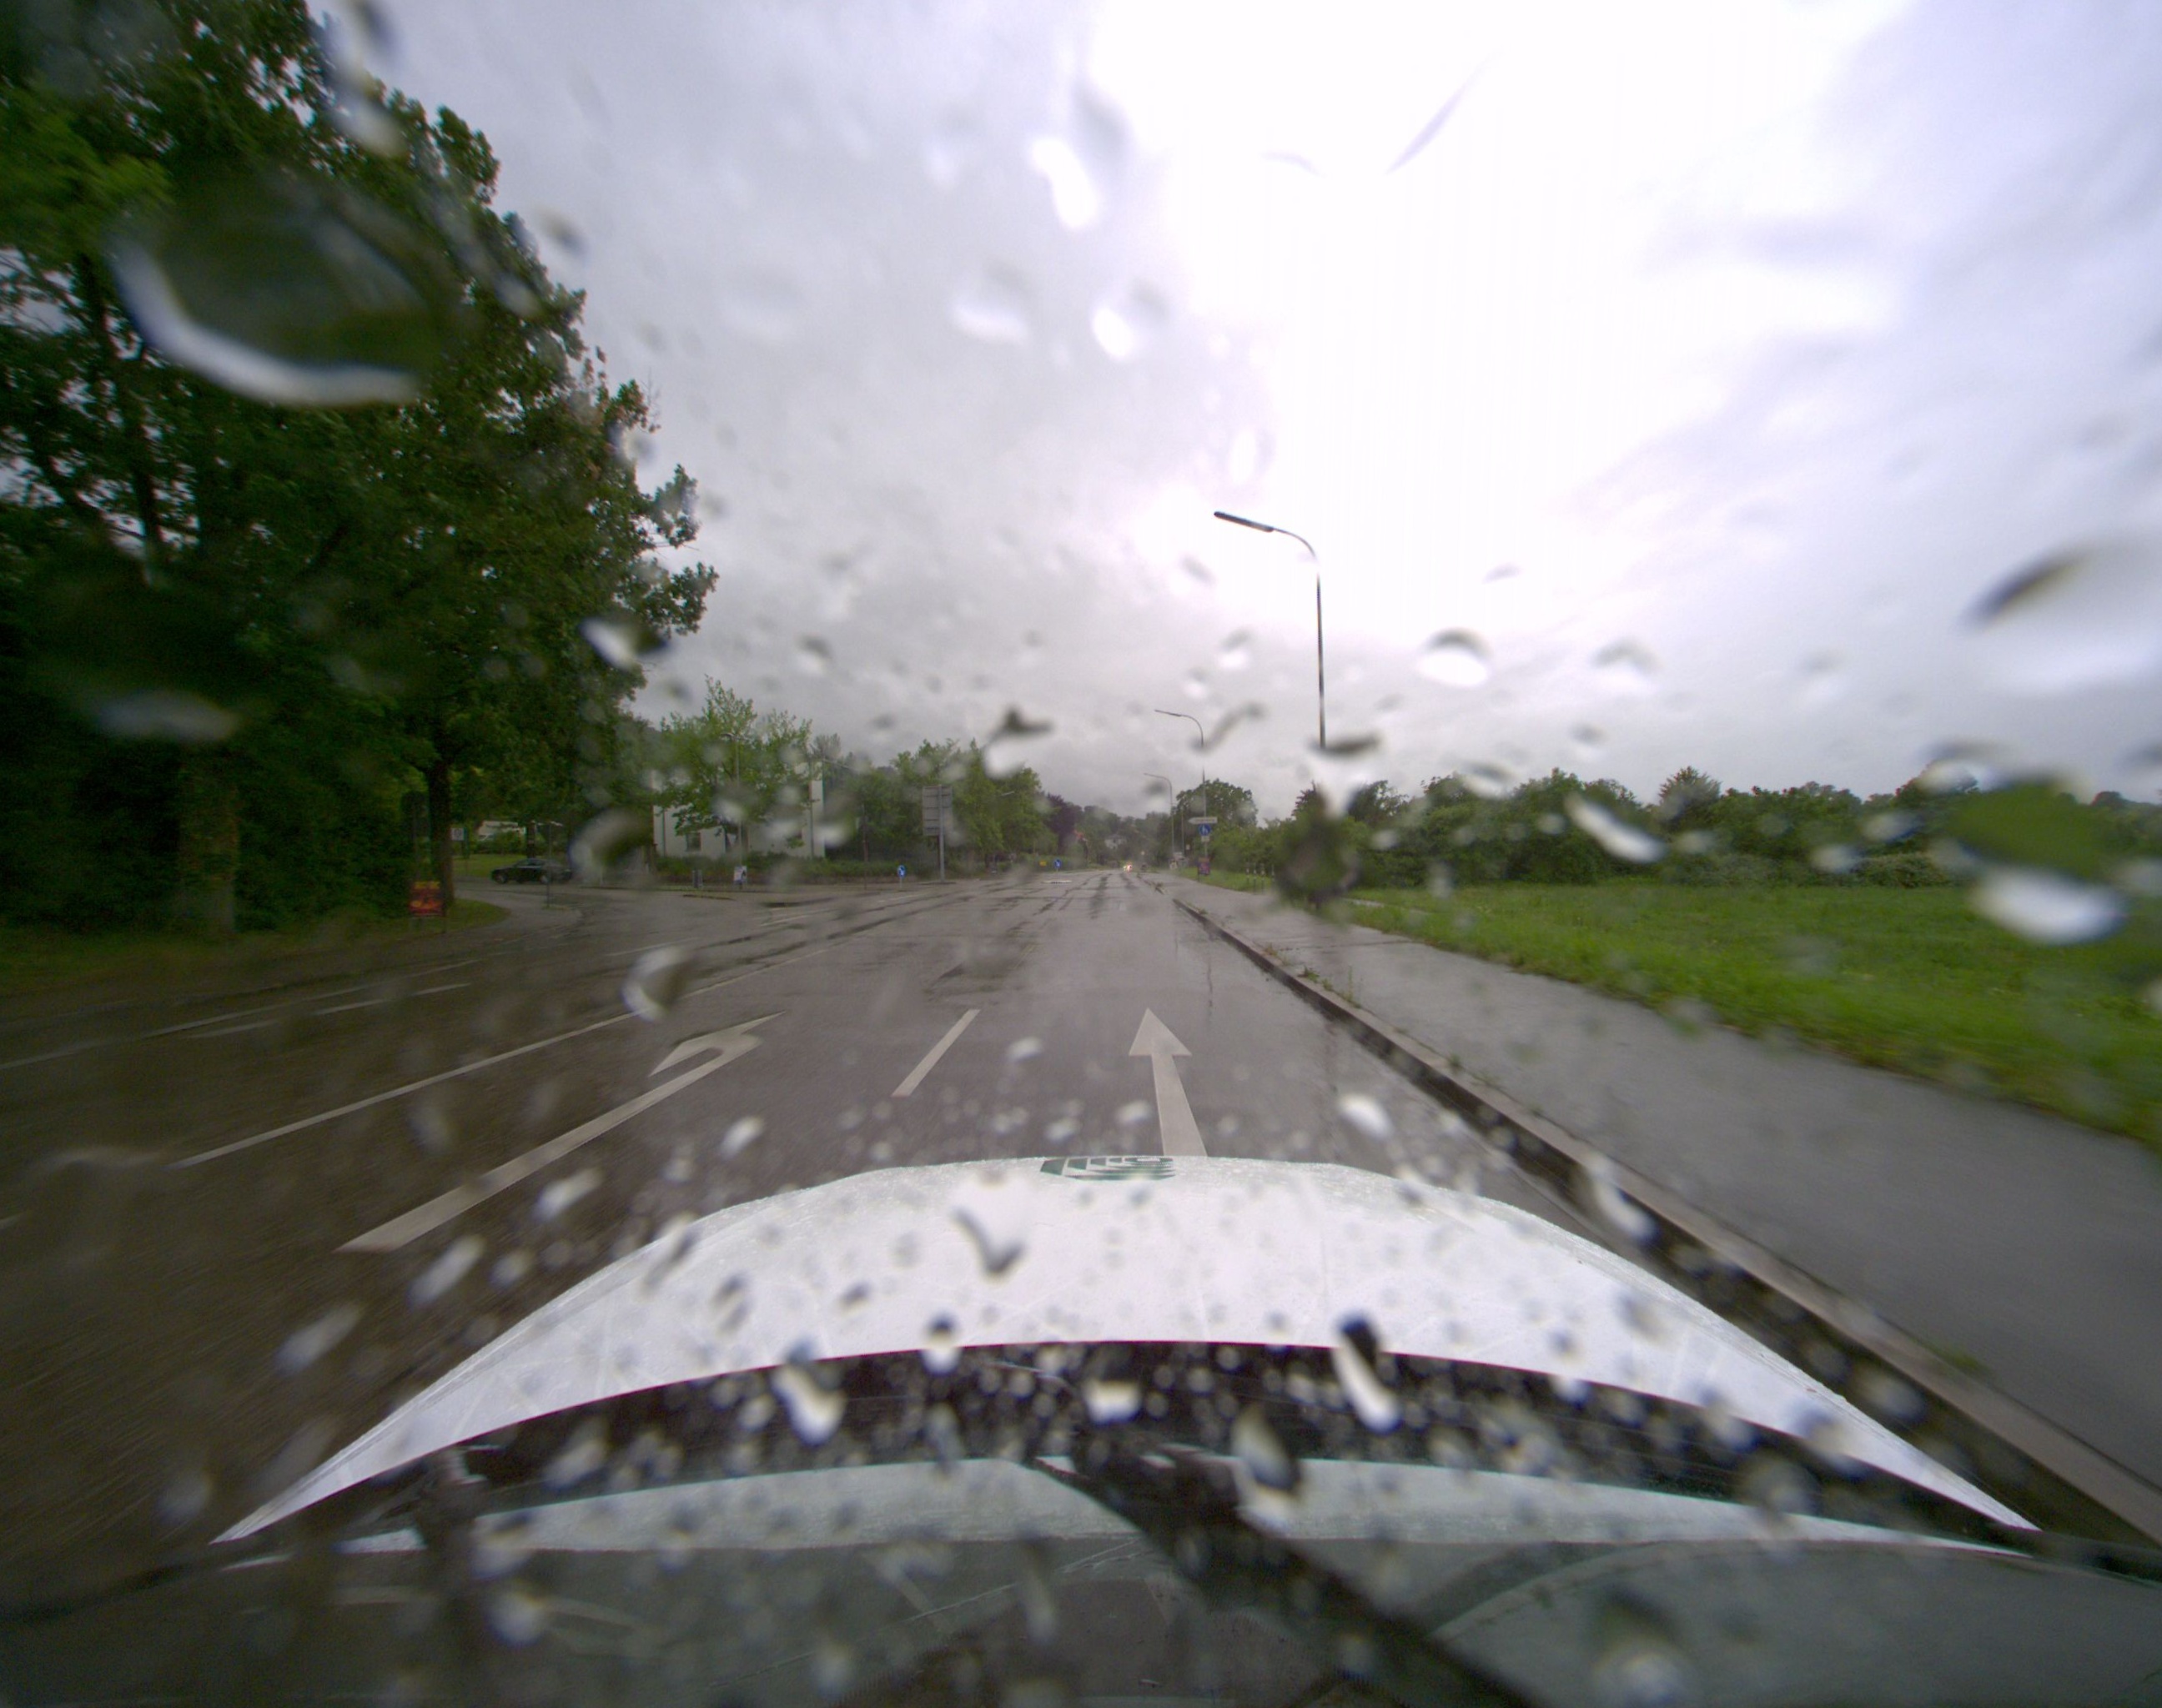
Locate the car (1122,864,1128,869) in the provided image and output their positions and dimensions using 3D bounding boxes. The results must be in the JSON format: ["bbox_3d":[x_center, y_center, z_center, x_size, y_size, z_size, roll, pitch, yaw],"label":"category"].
[{"bbox_3d":[12.887,3.610,238.620,1.694,1.349,3.909,-2,-1,4],"label":"car"}]

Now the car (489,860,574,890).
[{"bbox_3d":[-34.102,1.281,50.625,3.975,1.762,1.799,-1,0,-1],"label":"car"}]
